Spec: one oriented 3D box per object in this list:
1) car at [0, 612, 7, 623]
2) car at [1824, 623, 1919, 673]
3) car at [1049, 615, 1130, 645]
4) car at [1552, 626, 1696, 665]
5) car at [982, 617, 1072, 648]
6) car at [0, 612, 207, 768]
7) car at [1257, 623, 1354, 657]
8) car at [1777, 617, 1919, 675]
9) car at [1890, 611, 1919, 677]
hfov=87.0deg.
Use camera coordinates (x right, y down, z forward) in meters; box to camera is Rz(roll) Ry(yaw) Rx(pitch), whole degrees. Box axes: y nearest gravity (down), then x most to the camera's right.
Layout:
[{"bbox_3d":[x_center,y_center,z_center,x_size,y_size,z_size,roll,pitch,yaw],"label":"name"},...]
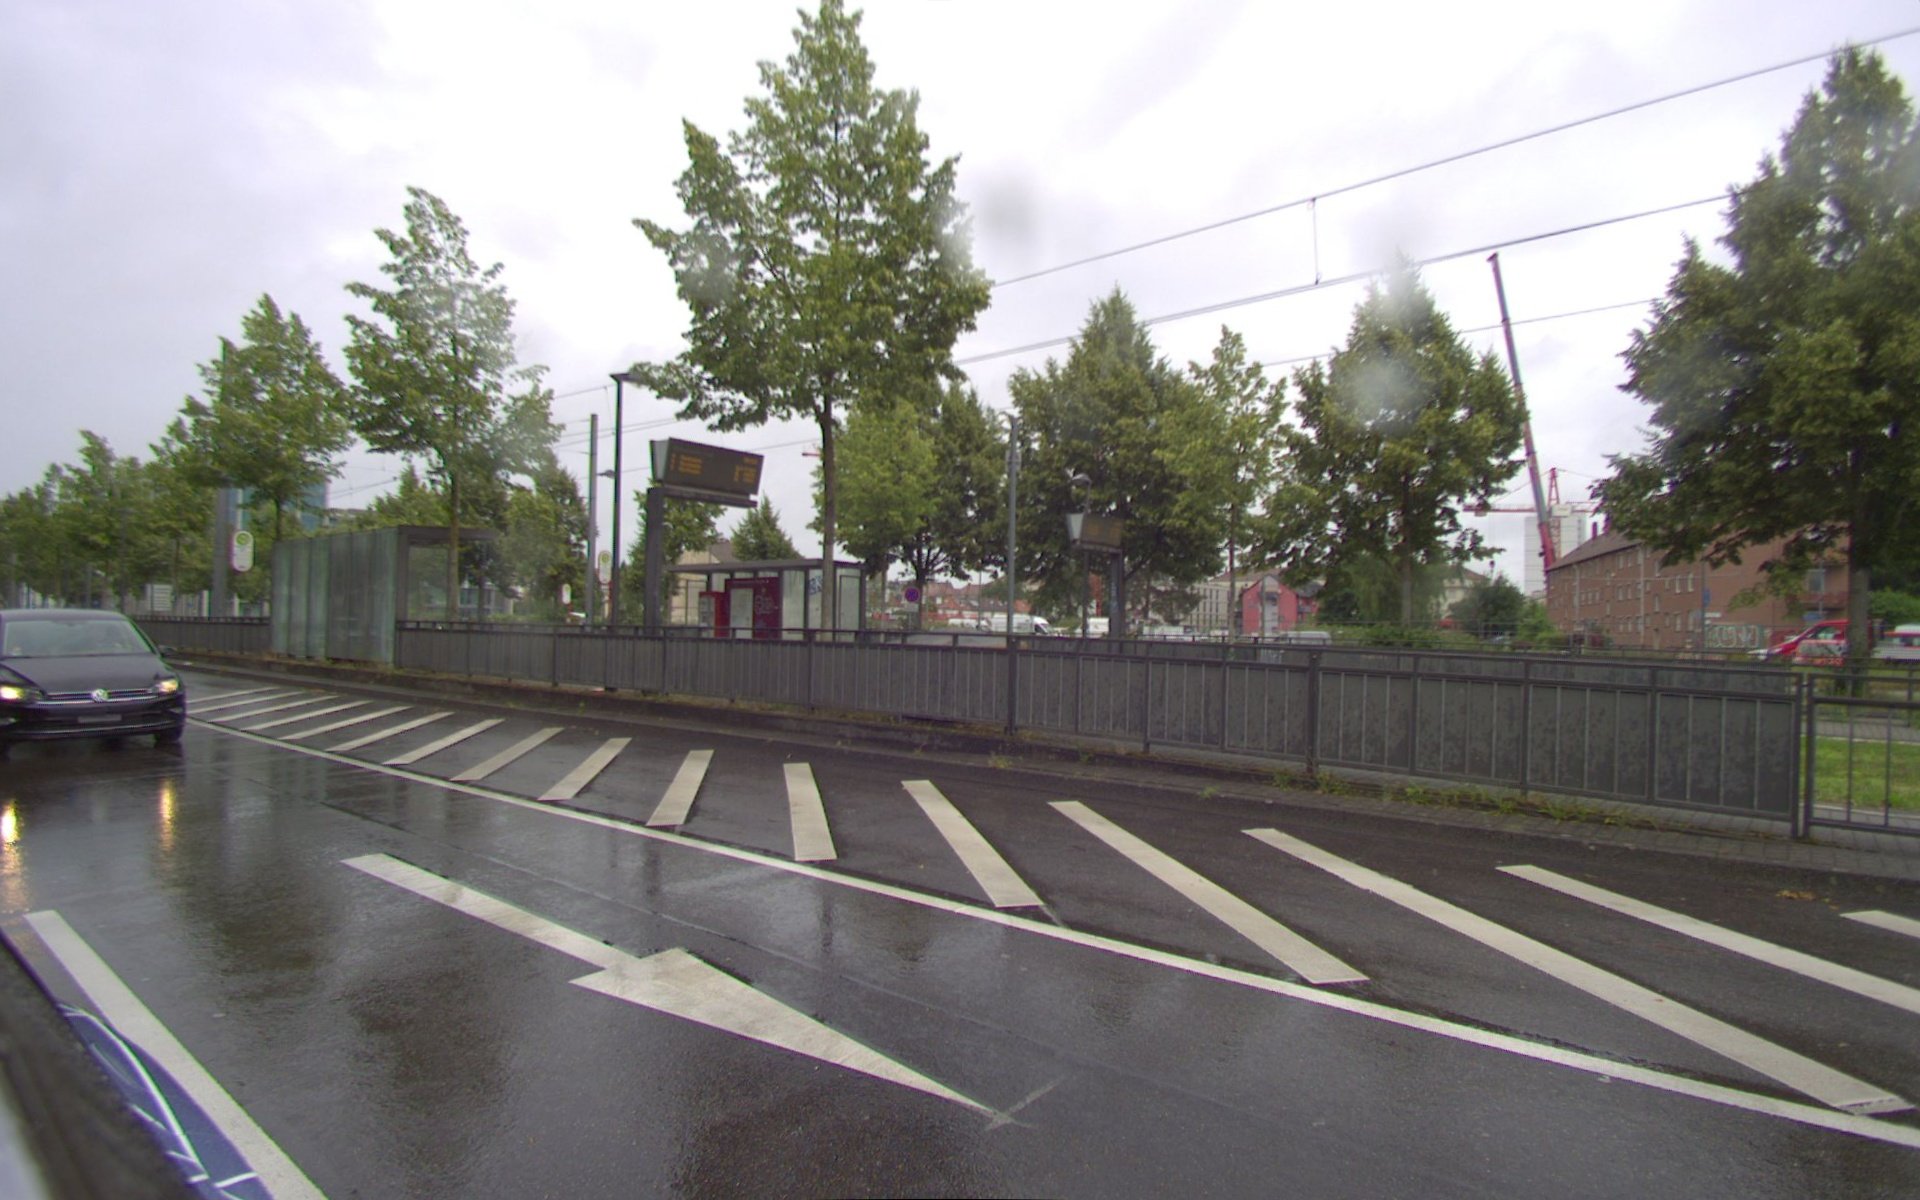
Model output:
[{"bbox_3d":[-176.579,3.192,185.894,3.999,2.029,1.972,-1,0,42],"label":"car"},{"bbox_3d":[40.174,1.997,41.827,2.319,2.029,6.440,2,-3,-38],"label":"car"},{"bbox_3d":[11.366,2.598,89.362,6.826,2.495,2.470,-1,0,38],"label":"car"},{"bbox_3d":[36.999,2.499,56.657,6.393,2.029,2.336,-1,0,26],"label":"car"},{"bbox_3d":[5.596,2.674,85.723,7.627,2.495,2.327,-1,0,38],"label":"car"},{"bbox_3d":[-10.809,0.934,12.167,4.326,1.529,1.766,-1,0,38],"label":"car"},{"bbox_3d":[26.604,3.060,77.993,6.804,2.495,2.335,0,-2,28],"label":"car"},{"bbox_3d":[34.777,1.681,37.689,2.319,2.029,6.441,-1,0,-38],"label":"car"},{"bbox_3d":[46.091,1.998,45.162,2.319,2.961,6.441,-1,0,-38],"label":"car"}]
